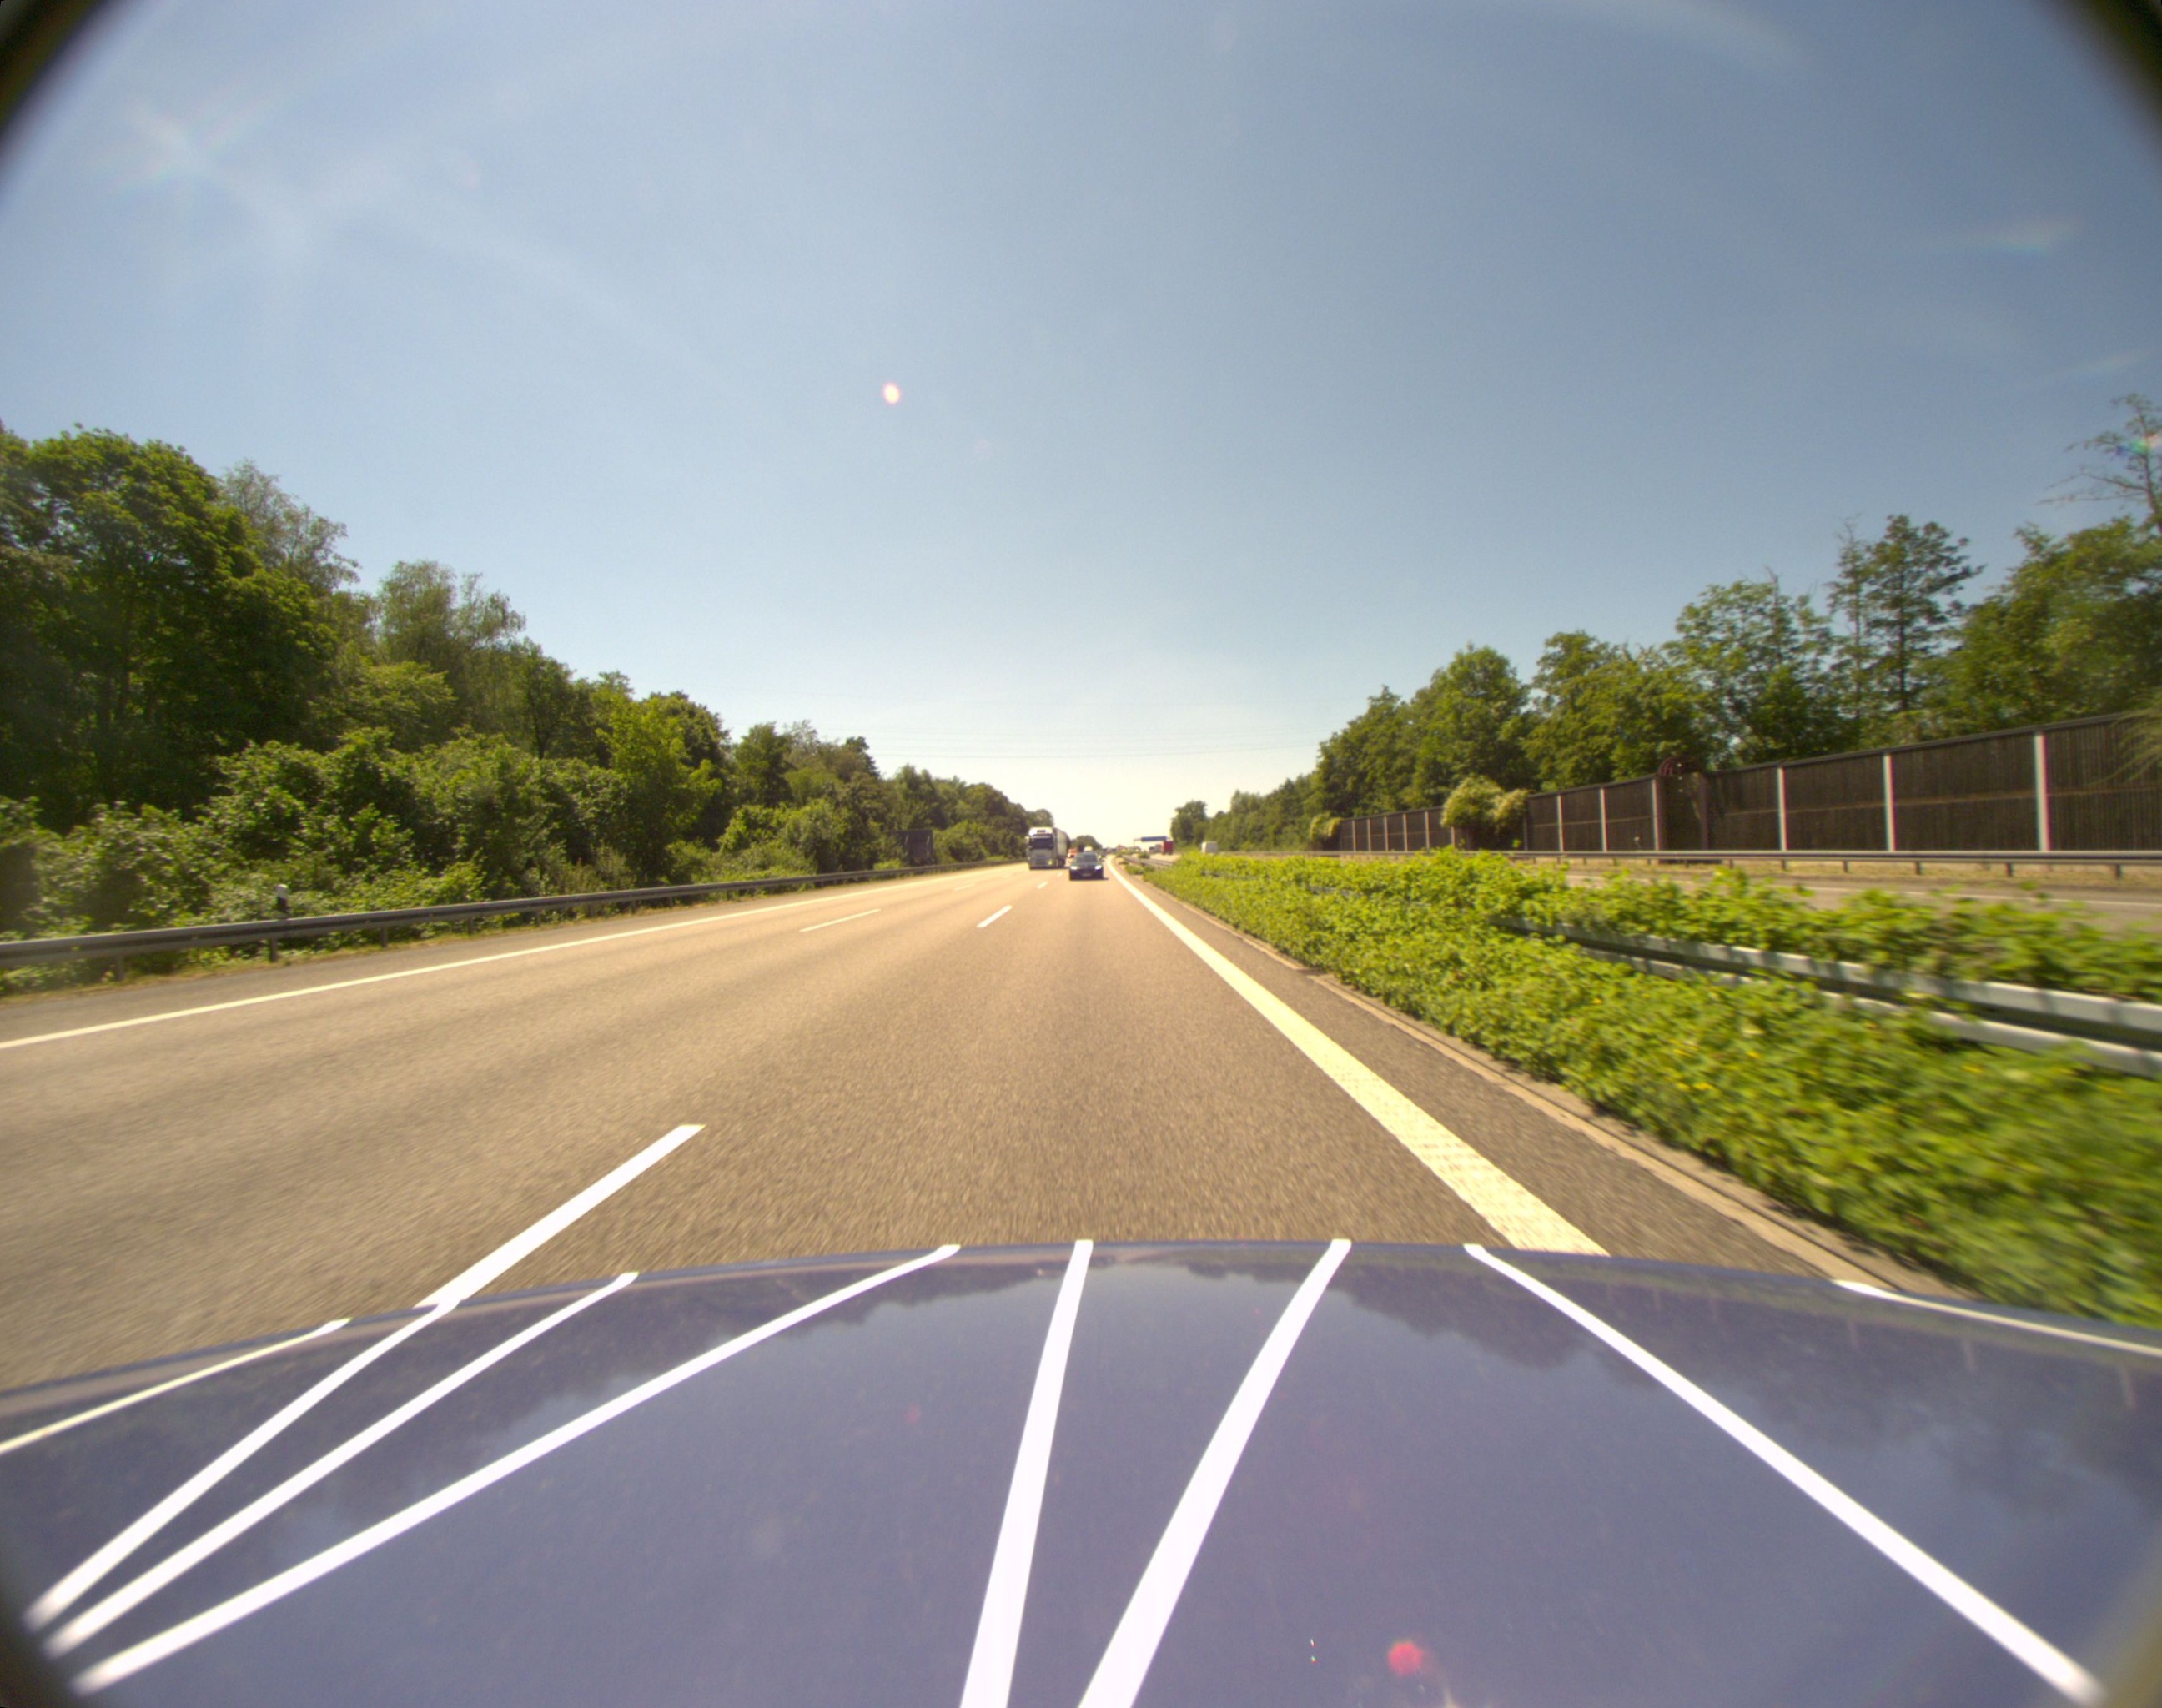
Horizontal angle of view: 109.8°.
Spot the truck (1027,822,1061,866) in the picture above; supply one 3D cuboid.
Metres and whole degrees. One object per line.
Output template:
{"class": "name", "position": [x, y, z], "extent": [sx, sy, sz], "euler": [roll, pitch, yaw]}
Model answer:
{"class": "truck", "position": [-3.517, -0.944, 73.850], "extent": [2.729, 3.952, 6.501], "euler": [-2, 0, 1]}

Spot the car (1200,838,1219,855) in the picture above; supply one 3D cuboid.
{"class": "car", "position": [19.616, -1.101, 115.867], "extent": [2.029, 2.417, 5.413], "euler": [-2, 0, 1]}

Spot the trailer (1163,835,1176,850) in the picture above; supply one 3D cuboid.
{"class": "trailer", "position": [25.236, -3.295, 217.676], "extent": [2.690, 4.044, 14.052], "euler": [-2, 0, 3]}

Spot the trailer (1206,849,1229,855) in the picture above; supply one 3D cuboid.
{"class": "trailer", "position": [19.661, -0.284, 110.033], "extent": [2.167, 0.802, 6.280], "euler": [-2, 0, 0]}

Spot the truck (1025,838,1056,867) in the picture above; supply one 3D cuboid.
{"class": "truck", "position": [-5.688, -0.275, 110.736], "extent": [3.049, 3.947, 14.454], "euler": [-2, 0, 2]}

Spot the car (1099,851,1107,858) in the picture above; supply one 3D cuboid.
{"class": "car", "position": [5.162, 0.082, 180.428], "extent": [1.879, 1.630, 4.000], "euler": [-2, 0, 1]}

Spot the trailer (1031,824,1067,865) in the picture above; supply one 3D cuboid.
{"class": "trailer", "position": [-3.261, -0.985, 81.053], "extent": [2.747, 3.952, 13.655], "euler": [-2, 0, 2]}

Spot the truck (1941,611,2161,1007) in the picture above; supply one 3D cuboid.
{"class": "truck", "position": [9.545, -0.367, 3.203], "extent": [2.199, 3.096, 8.533], "euler": [-2, 0, 0]}

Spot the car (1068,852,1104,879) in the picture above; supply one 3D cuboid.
{"class": "car", "position": [0.338, 0.639, 43.182], "extent": [1.800, 1.390, 4.834], "euler": [-2, 0, 2]}

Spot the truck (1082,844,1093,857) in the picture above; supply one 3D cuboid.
{"class": "truck", "position": [1.666, -0.932, 196.145], "extent": [2.859, 3.163, 10.711], "euler": [-2, 0, 0]}

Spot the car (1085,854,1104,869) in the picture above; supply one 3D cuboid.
{"class": "car", "position": [1.564, 0.875, 87.694], "extent": [1.861, 1.614, 3.738], "euler": [-2, 0, 5]}

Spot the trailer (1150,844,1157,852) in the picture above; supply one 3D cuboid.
{"class": "trailer", "position": [23.633, -1.931, 247.635], "extent": [2.091, 2.598, 4.956], "euler": [-2, 0, 1]}

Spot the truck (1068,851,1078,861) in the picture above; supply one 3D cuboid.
{"class": "truck", "position": [-2.071, 0.573, 194.716], "extent": [2.437, 2.426, 10.008], "euler": [-2, 0, 0]}
